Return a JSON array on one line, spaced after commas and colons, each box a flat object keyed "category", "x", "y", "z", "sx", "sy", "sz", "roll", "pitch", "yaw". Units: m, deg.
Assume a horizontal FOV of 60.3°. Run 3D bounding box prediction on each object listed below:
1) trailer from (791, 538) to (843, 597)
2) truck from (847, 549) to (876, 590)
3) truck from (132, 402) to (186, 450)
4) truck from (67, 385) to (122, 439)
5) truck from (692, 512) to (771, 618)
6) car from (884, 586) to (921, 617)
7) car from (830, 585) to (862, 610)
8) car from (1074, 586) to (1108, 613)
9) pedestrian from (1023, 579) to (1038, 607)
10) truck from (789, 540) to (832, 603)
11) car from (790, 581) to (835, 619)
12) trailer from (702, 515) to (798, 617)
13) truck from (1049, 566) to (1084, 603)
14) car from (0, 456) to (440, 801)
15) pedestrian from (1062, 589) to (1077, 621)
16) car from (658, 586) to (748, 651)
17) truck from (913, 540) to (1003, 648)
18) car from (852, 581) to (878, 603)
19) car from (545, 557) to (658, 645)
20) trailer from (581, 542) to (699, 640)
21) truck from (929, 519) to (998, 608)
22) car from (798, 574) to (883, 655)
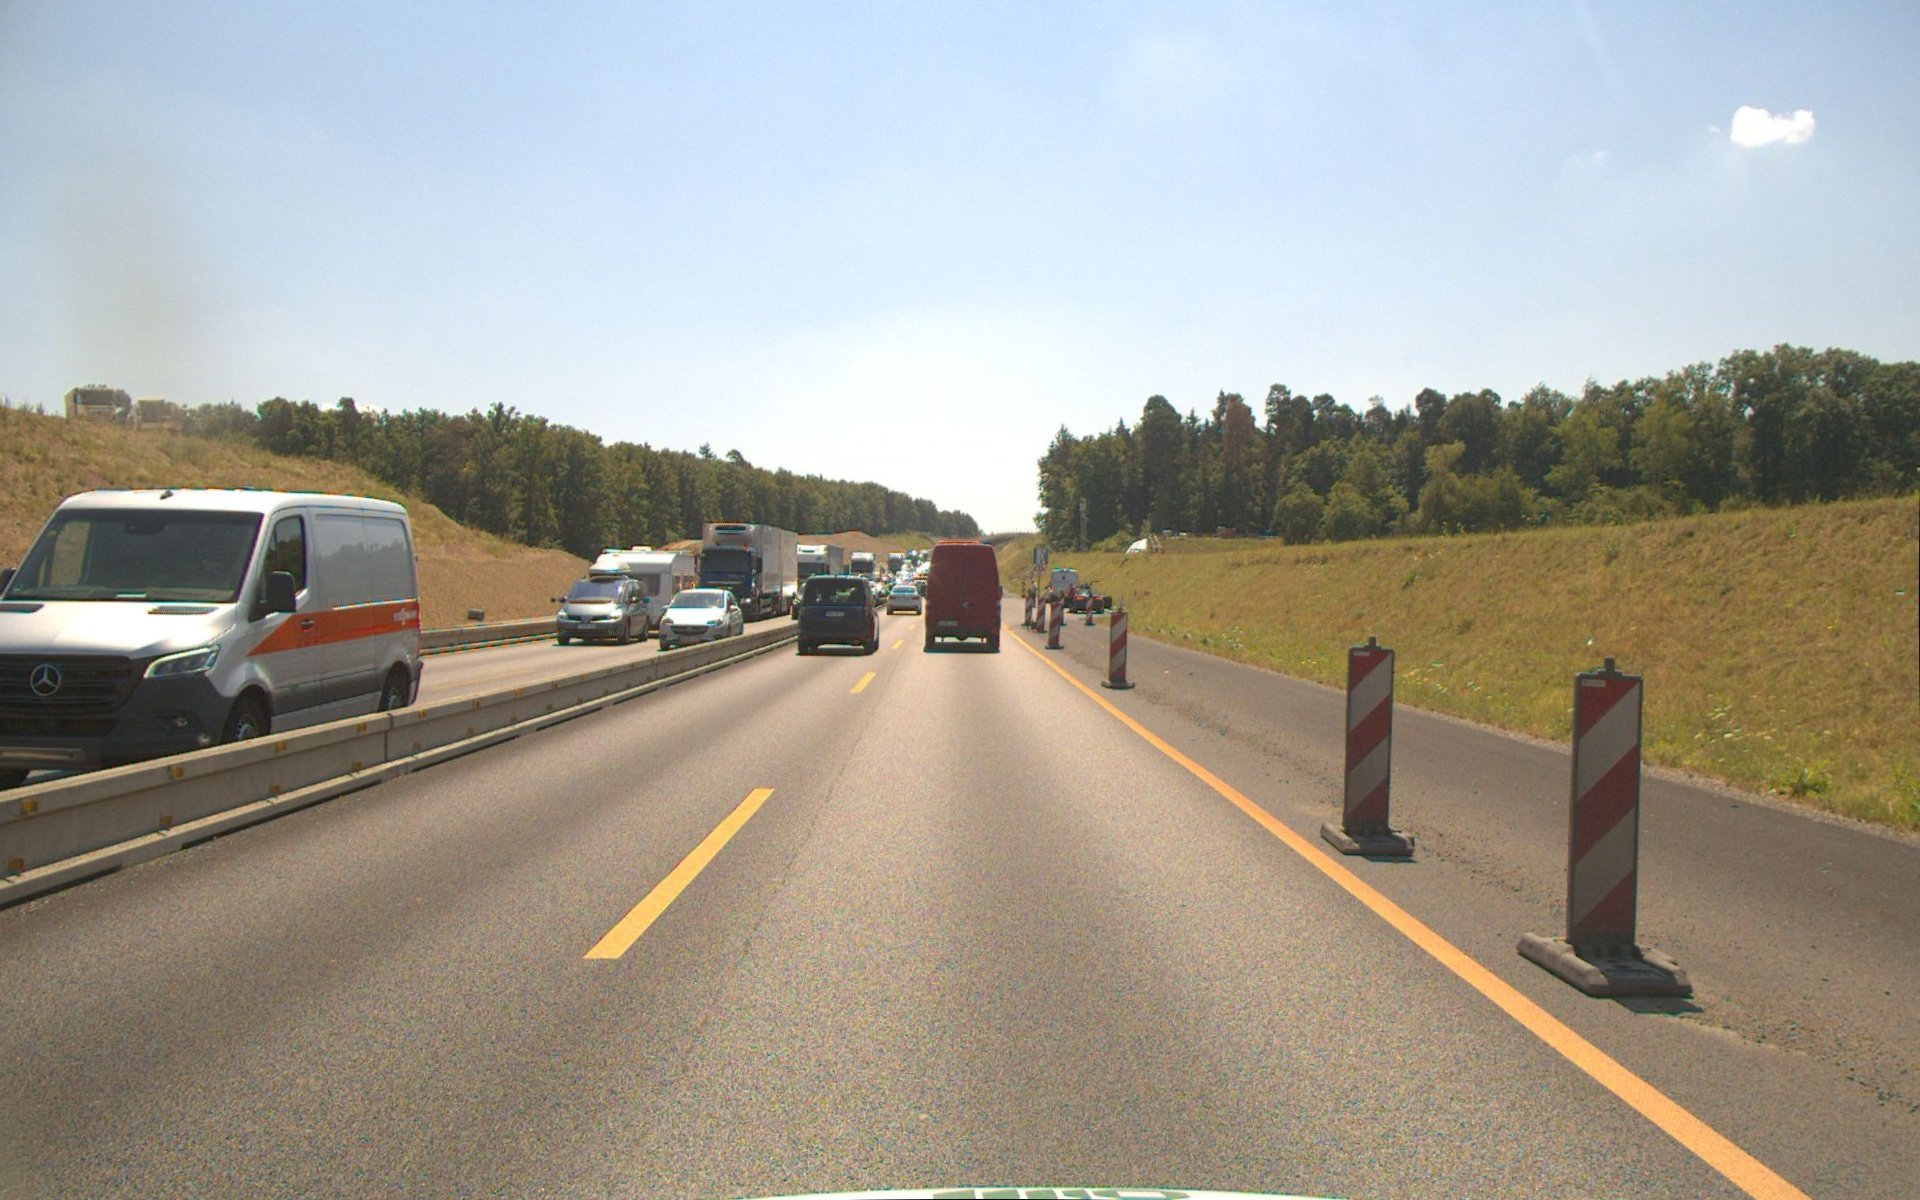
[{"category": "trailer", "x": -10.220, "y": -2.274, "z": 119.619, "sx": 2.599, "sy": 4.007, "sz": 13.995, "roll": 1, "pitch": 0, "yaw": 0}, {"category": "truck", "x": -10.335, "y": -3.177, "z": 173.772, "sx": 2.712, "sy": 4.114, "sz": 4.943, "roll": 1, "pitch": 0, "yaw": 0}, {"category": "truck", "x": -61.518, "y": -13.308, "z": 126.908, "sx": 2.276, "sy": 2.797, "sz": 8.795, "roll": 1, "pitch": 0, "yaw": -35}, {"category": "truck", "x": -62.347, "y": -13.483, "z": 119.052, "sx": 2.335, "sy": 2.949, "sz": 8.262, "roll": 1, "pitch": 0, "yaw": -35}, {"category": "truck", "x": -9.638, "y": -1.439, "z": 70.226, "sx": 2.440, "sy": 4.272, "sz": 5.912, "roll": -1, "pitch": 0, "yaw": 0}, {"category": "car", "x": -2.961, "y": 0.084, "z": 86.187, "sx": 1.794, "sy": 1.548, "sz": 3.961, "roll": 1, "pitch": 0, "yaw": 0}, {"category": "car", "x": -7.075, "y": -0.148, "z": 102.845, "sx": 1.771, "sy": 1.514, "sz": 4.242, "roll": 1, "pitch": 0, "yaw": -1}, {"category": "car", "x": 7.678, "y": -0.041, "z": 97.320, "sx": 1.620, "sy": 1.451, "sz": 4.545, "roll": -2, "pitch": 1, "yaw": 0}, {"category": "pedestrian", "x": 4.769, "y": -0.465, "z": 111.929, "sx": 0.713, "sy": 1.860, "sz": 0.716, "roll": 1, "pitch": -1, "yaw": -20}, {"category": "truck", "x": -10.145, "y": -1.922, "z": 112.506, "sx": 2.539, "sy": 4.124, "sz": 5.149, "roll": 1, "pitch": 1, "yaw": -1}, {"category": "car", "x": -6.690, "y": 0.003, "z": 75.293, "sx": 1.654, "sy": 1.642, "sz": 4.592, "roll": 1, "pitch": 0, "yaw": -1}, {"category": "trailer", "x": -9.634, "y": -1.490, "z": 77.746, "sx": 2.451, "sy": 4.252, "sz": 15.533, "roll": -1, "pitch": 0, "yaw": 0}, {"category": "truck", "x": 7.458, "y": -1.091, "z": 115.527, "sx": 2.084, "sy": 2.499, "sz": 5.930, "roll": 1, "pitch": 1, "yaw": 7}, {"category": "car", "x": -6.180, "y": 0.201, "z": 13.946, "sx": 1.953, "sy": 2.332, "sz": 5.342, "roll": 1, "pitch": 0, "yaw": -1}, {"category": "pedestrian", "x": 6.414, "y": 0.272, "z": 96.885, "sx": 0.631, "sy": 1.860, "sz": 0.555, "roll": 1, "pitch": 1, "yaw": -21}, {"category": "car", "x": -6.354, "y": 0.448, "z": 41.291, "sx": 1.654, "sy": 1.528, "sz": 3.976, "roll": 1, "pitch": 0, "yaw": -1}, {"category": "truck", "x": -0.121, "y": -0.138, "z": 43.677, "sx": 2.110, "sy": 2.635, "sz": 5.330, "roll": 1, "pitch": 0, "yaw": -3}, {"category": "car", "x": -7.027, "y": -0.625, "z": 122.469, "sx": 1.739, "sy": 1.582, "sz": 4.138, "roll": -2, "pitch": 1, "yaw": -1}, {"category": "car", "x": -9.512, "y": 0.042, "z": 44.304, "sx": 1.953, "sy": 2.193, "sz": 4.864, "roll": 1, "pitch": 0, "yaw": 0}, {"category": "trailer", "x": -9.570, "y": -0.283, "z": 50.111, "sx": 2.264, "sy": 2.733, "sz": 6.755, "roll": -1, "pitch": 0, "yaw": -1}, {"category": "truck", "x": 0.180, "y": -2.267, "z": 112.577, "sx": 4.310, "sy": 5.592, "sz": 16.601, "roll": 1, "pitch": 0, "yaw": 0}, {"category": "car", "x": -2.877, "y": 0.298, "z": 40.630, "sx": 1.715, "sy": 1.856, "sz": 4.782, "roll": 1, "pitch": 1, "yaw": 0}]
